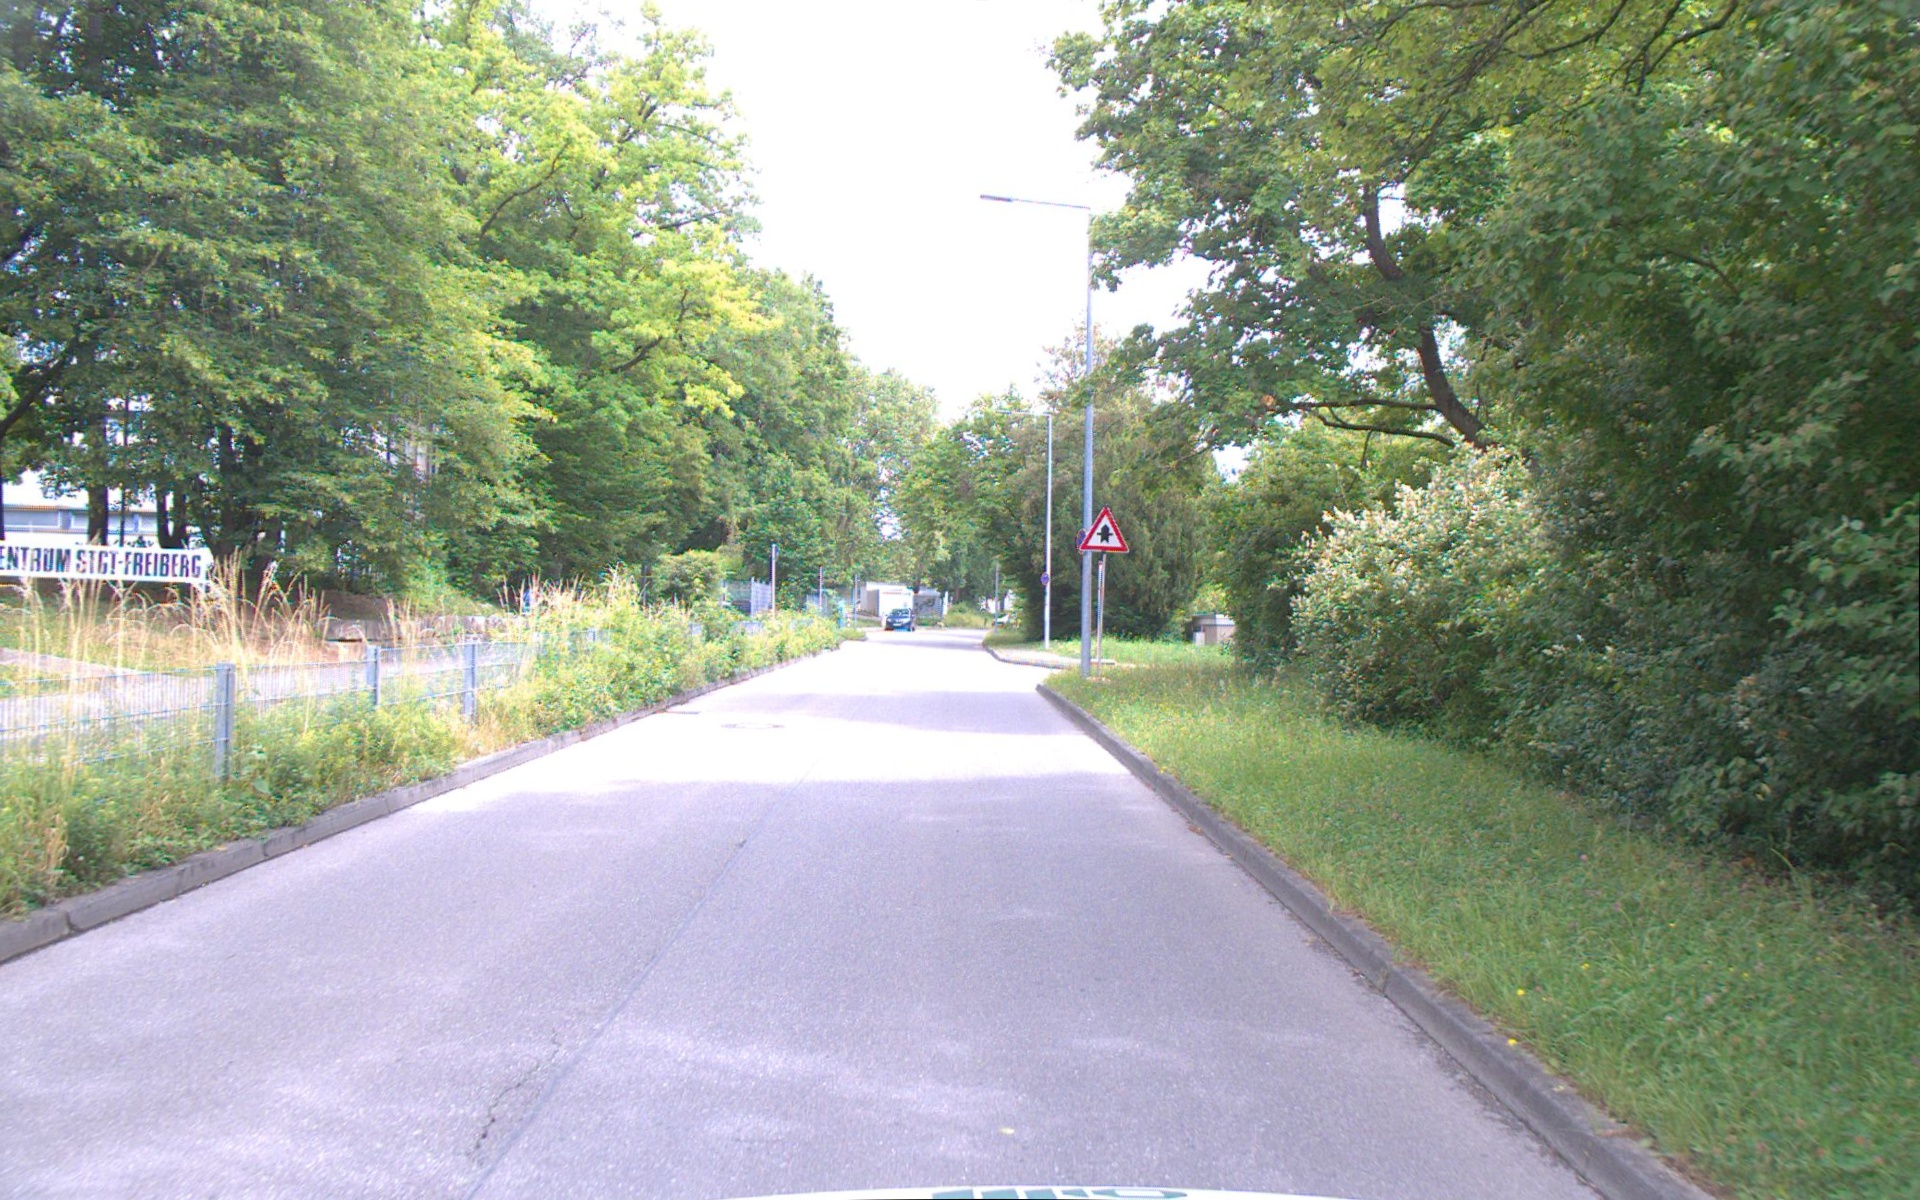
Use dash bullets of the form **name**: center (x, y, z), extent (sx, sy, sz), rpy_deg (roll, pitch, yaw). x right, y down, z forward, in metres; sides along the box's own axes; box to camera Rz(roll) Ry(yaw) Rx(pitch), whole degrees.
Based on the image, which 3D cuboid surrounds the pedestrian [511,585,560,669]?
- **pedestrian**: center (-10.592, 0.688, 41.222), extent (0.864, 2.049, 0.861), rpy_deg (-4, -4, 45)

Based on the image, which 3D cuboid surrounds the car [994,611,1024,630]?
- **car**: center (4.423, 1.869, 149.052), extent (1.820, 1.518, 4.002), rpy_deg (-2, -3, 14)

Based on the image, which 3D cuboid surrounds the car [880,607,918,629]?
- **car**: center (-4.100, 1.233, 111.957), extent (1.937, 1.408, 4.003), rpy_deg (2, 0, 7)
